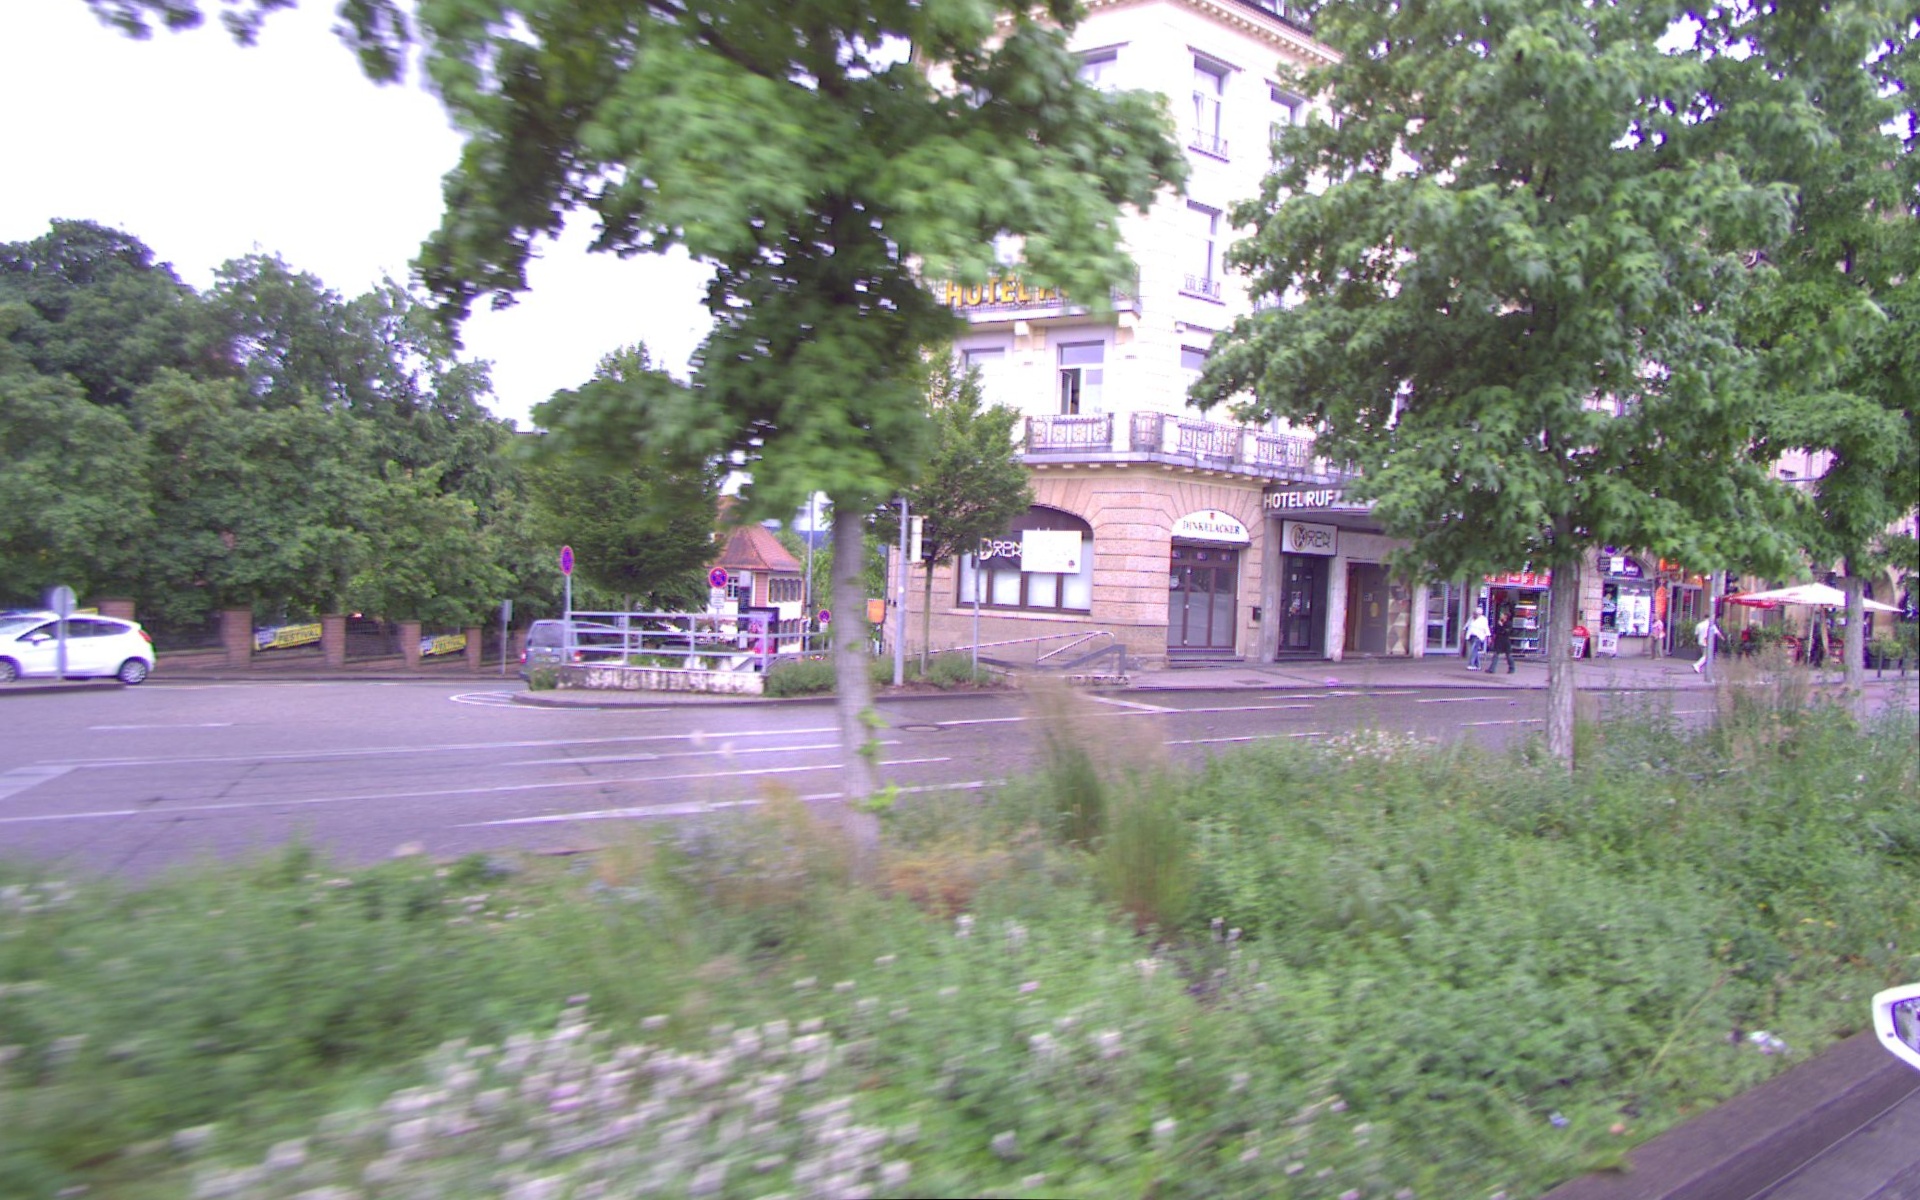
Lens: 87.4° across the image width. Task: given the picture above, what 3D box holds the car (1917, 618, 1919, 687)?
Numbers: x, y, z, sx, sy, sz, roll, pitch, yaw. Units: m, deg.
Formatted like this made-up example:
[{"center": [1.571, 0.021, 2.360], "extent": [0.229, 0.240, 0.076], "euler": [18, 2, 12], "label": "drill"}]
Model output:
[{"center": [31.056, 1.618, 30.187], "extent": [4.940, 2.040, 1.985], "euler": [2, -2, -29], "label": "car"}]

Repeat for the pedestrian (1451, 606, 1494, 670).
[{"center": [13.668, 1.016, 26.783], "extent": [0.797, 1.685, 0.679], "euler": [2, -1, -27], "label": "pedestrian"}]

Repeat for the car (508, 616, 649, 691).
[{"center": [-9.873, 1.320, 26.350], "extent": [1.602, 1.782, 4.003], "euler": [1, -1, 10], "label": "car"}]

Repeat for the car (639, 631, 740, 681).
[{"center": [-8.707, 1.759, 32.708], "extent": [1.602, 1.416, 4.003], "euler": [1, -1, 10], "label": "car"}]

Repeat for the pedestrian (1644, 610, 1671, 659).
[{"center": [24.558, 1.206, 35.361], "extent": [0.532, 1.685, 0.661], "euler": [2, -1, -38], "label": "pedestrian"}]

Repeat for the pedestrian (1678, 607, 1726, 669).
[{"center": [22.773, 1.186, 30.832], "extent": [0.742, 1.835, 0.876], "euler": [2, -6, -30], "label": "pedestrian"}]

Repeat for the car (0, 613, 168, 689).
[{"center": [-18.487, 0.986, 20.071], "extent": [1.602, 1.416, 4.003], "euler": [1, -2, 13], "label": "car"}]

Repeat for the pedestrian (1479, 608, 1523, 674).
[{"center": [14.050, 1.059, 26.090], "extent": [0.797, 1.685, 0.678], "euler": [2, -1, -30], "label": "pedestrian"}]
